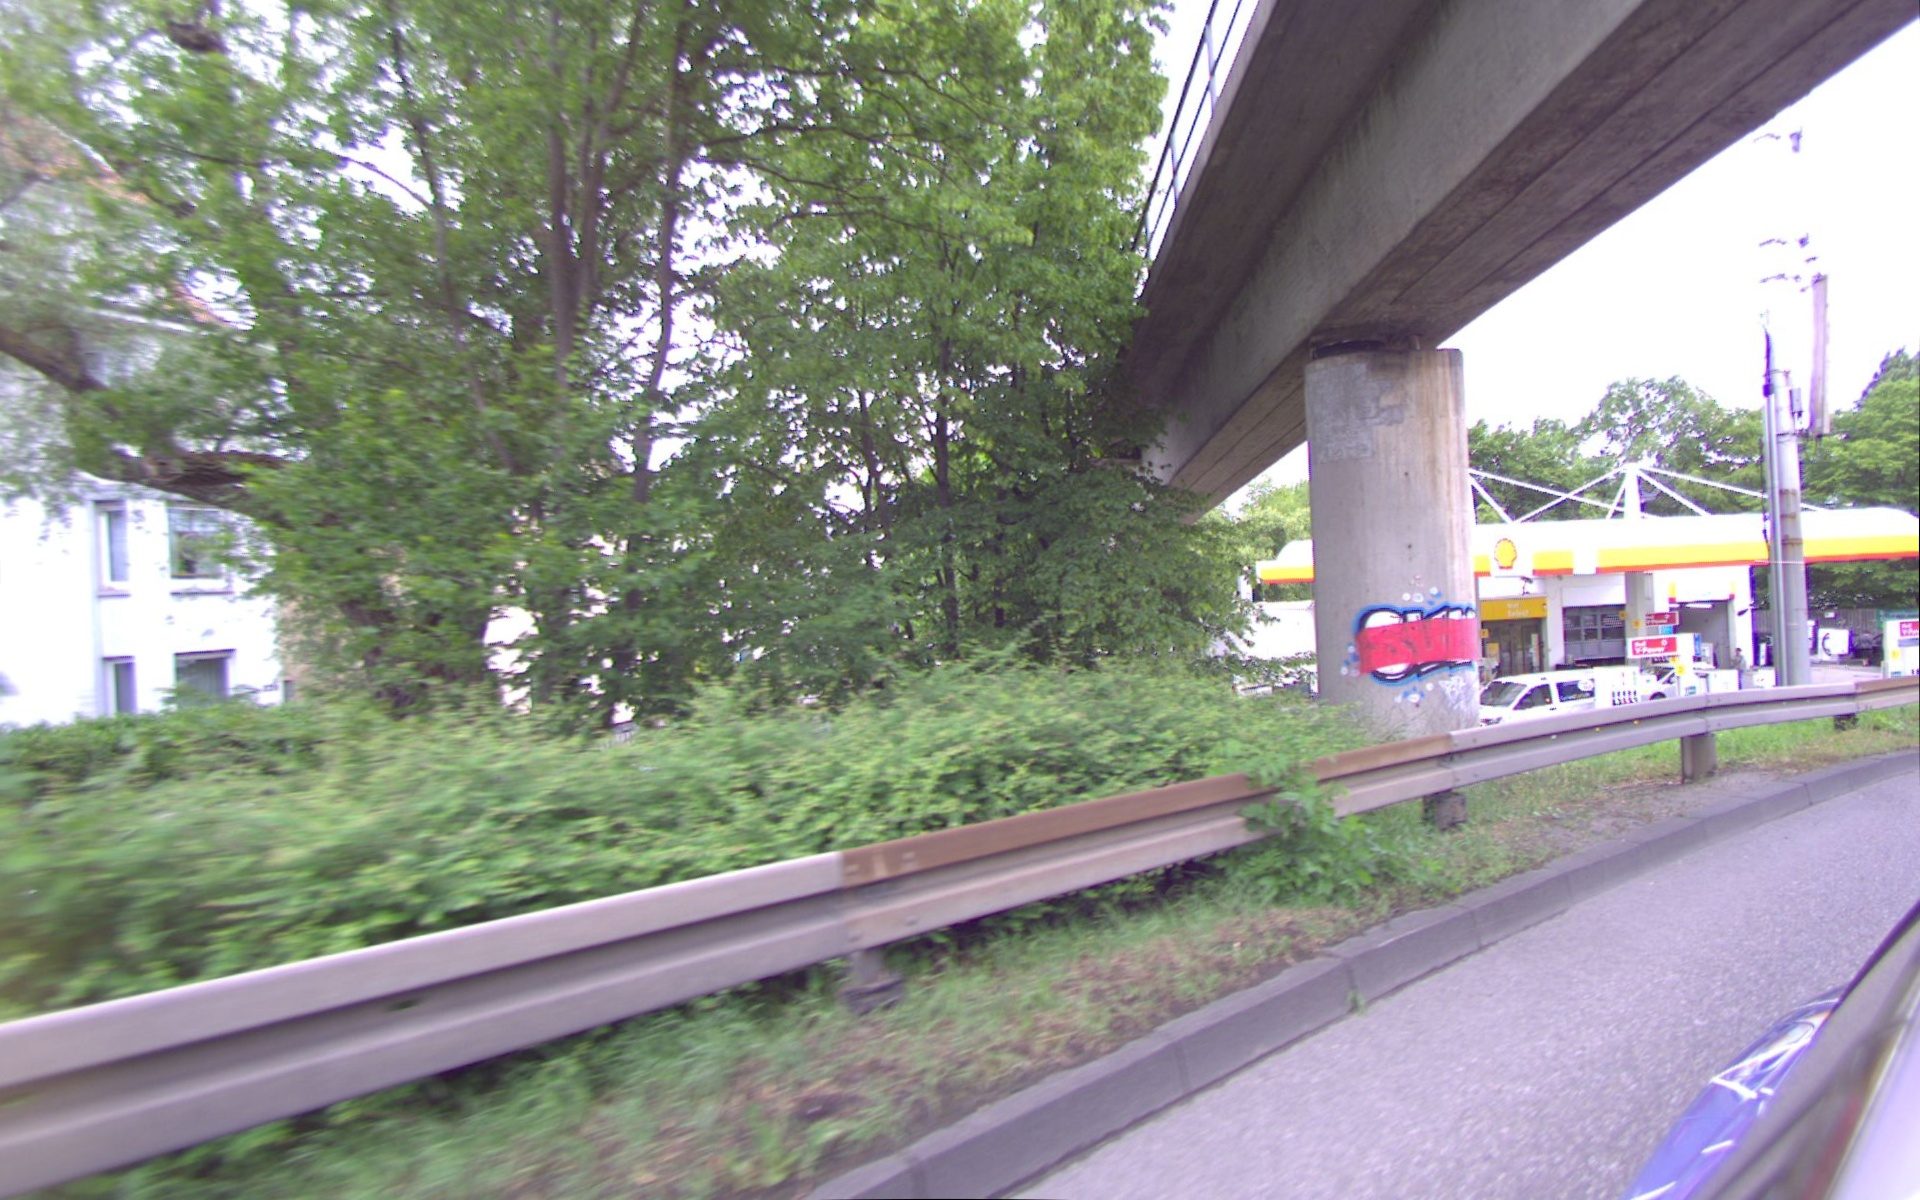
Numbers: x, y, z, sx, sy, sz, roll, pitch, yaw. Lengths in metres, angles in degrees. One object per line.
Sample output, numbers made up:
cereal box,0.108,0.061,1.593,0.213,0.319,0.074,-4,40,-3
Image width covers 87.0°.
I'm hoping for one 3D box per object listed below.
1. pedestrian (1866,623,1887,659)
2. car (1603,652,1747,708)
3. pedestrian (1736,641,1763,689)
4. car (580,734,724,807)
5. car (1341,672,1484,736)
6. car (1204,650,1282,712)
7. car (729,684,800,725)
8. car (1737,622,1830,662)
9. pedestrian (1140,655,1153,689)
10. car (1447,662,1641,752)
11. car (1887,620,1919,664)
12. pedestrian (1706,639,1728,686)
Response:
pedestrian,39.472,1.769,43.603,0.465,1.560,0.427,-4,-5,29
car,24.413,2.699,34.604,3.799,1.504,1.744,-3,1,-9
pedestrian,29.179,2.402,37.397,0.597,1.726,0.545,0,0,-14
car,-7.977,4.392,26.523,1.631,1.413,3.741,-4,-3,21
car,14.624,3.334,32.829,3.800,1.503,1.744,-5,2,-6
car,11.550,3.264,41.610,1.707,1.961,3.881,-6,1,-4
car,-7.694,4.109,40.177,1.576,1.367,3.574,-4,-3,9
car,37.227,1.857,45.868,1.698,1.453,4.089,-1,2,15
pedestrian,9.007,3.463,48.819,0.499,1.615,0.425,-2,1,3
car,16.541,2.982,28.745,4.617,2.035,1.744,-3,0,-9
car,41.172,1.748,43.159,1.615,1.538,4.056,-1,2,31
pedestrian,28.303,2.345,37.844,0.423,1.726,0.493,0,0,0
